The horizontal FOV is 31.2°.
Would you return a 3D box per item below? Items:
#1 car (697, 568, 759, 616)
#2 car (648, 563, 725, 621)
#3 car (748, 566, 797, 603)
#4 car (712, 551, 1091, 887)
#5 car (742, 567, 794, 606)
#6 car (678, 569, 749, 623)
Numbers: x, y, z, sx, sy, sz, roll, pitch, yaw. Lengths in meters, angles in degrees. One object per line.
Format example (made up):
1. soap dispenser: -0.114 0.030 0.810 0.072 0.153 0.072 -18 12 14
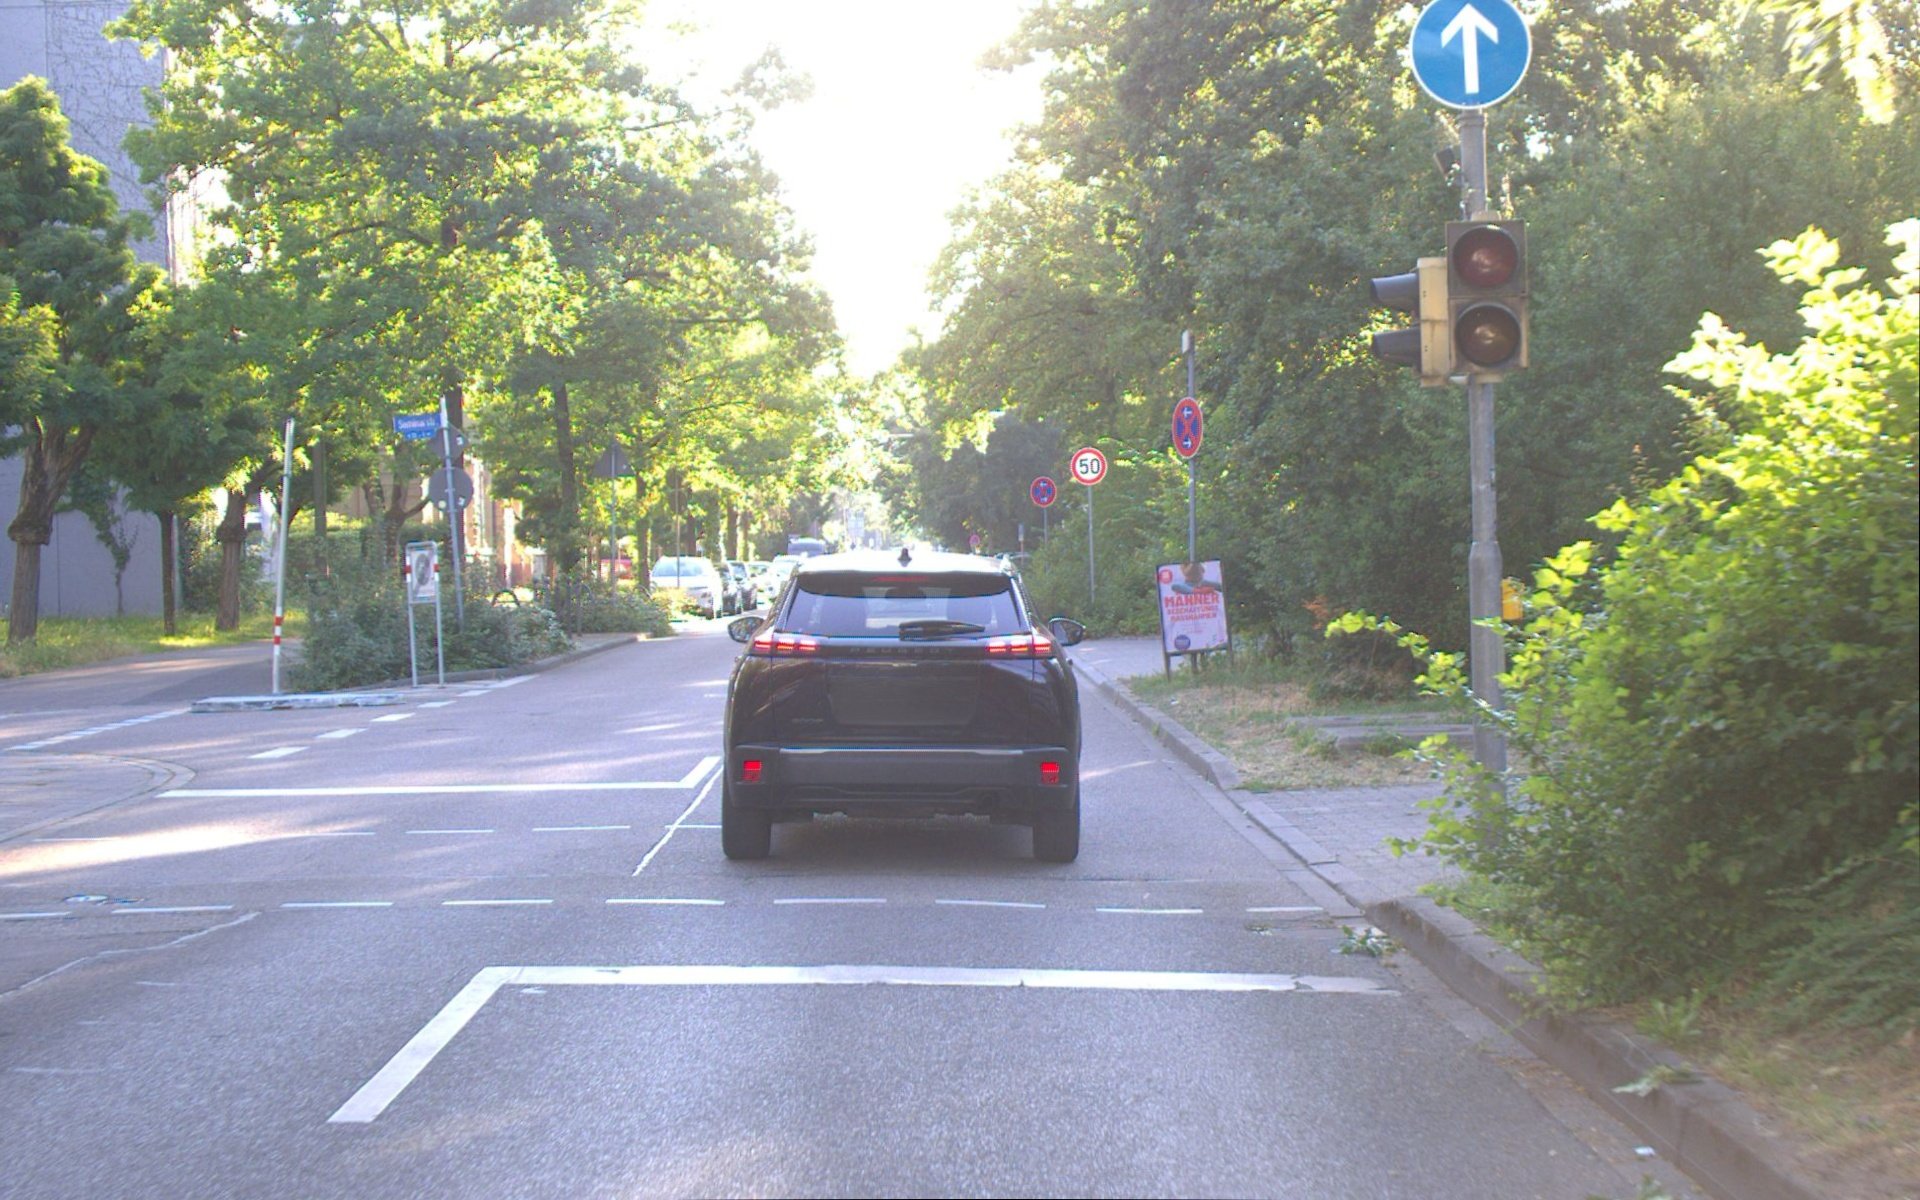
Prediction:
1. car: -7.001 -0.267 103.564 1.810 1.349 4.001 -2 1 -4
2. car: -6.864 -0.218 85.989 1.810 1.349 4.001 -2 1 -5
3. car: -7.434 -0.628 136.134 1.810 1.349 4.001 -2 1 -4
4. car: -0.305 0.534 17.837 1.768 1.563 3.381 0 1 -1
5. car: -7.053 -0.507 126.077 1.810 1.349 3.980 -2 1 -4
6. car: -6.619 -0.132 92.236 1.810 1.349 4.001 -2 1 -4
